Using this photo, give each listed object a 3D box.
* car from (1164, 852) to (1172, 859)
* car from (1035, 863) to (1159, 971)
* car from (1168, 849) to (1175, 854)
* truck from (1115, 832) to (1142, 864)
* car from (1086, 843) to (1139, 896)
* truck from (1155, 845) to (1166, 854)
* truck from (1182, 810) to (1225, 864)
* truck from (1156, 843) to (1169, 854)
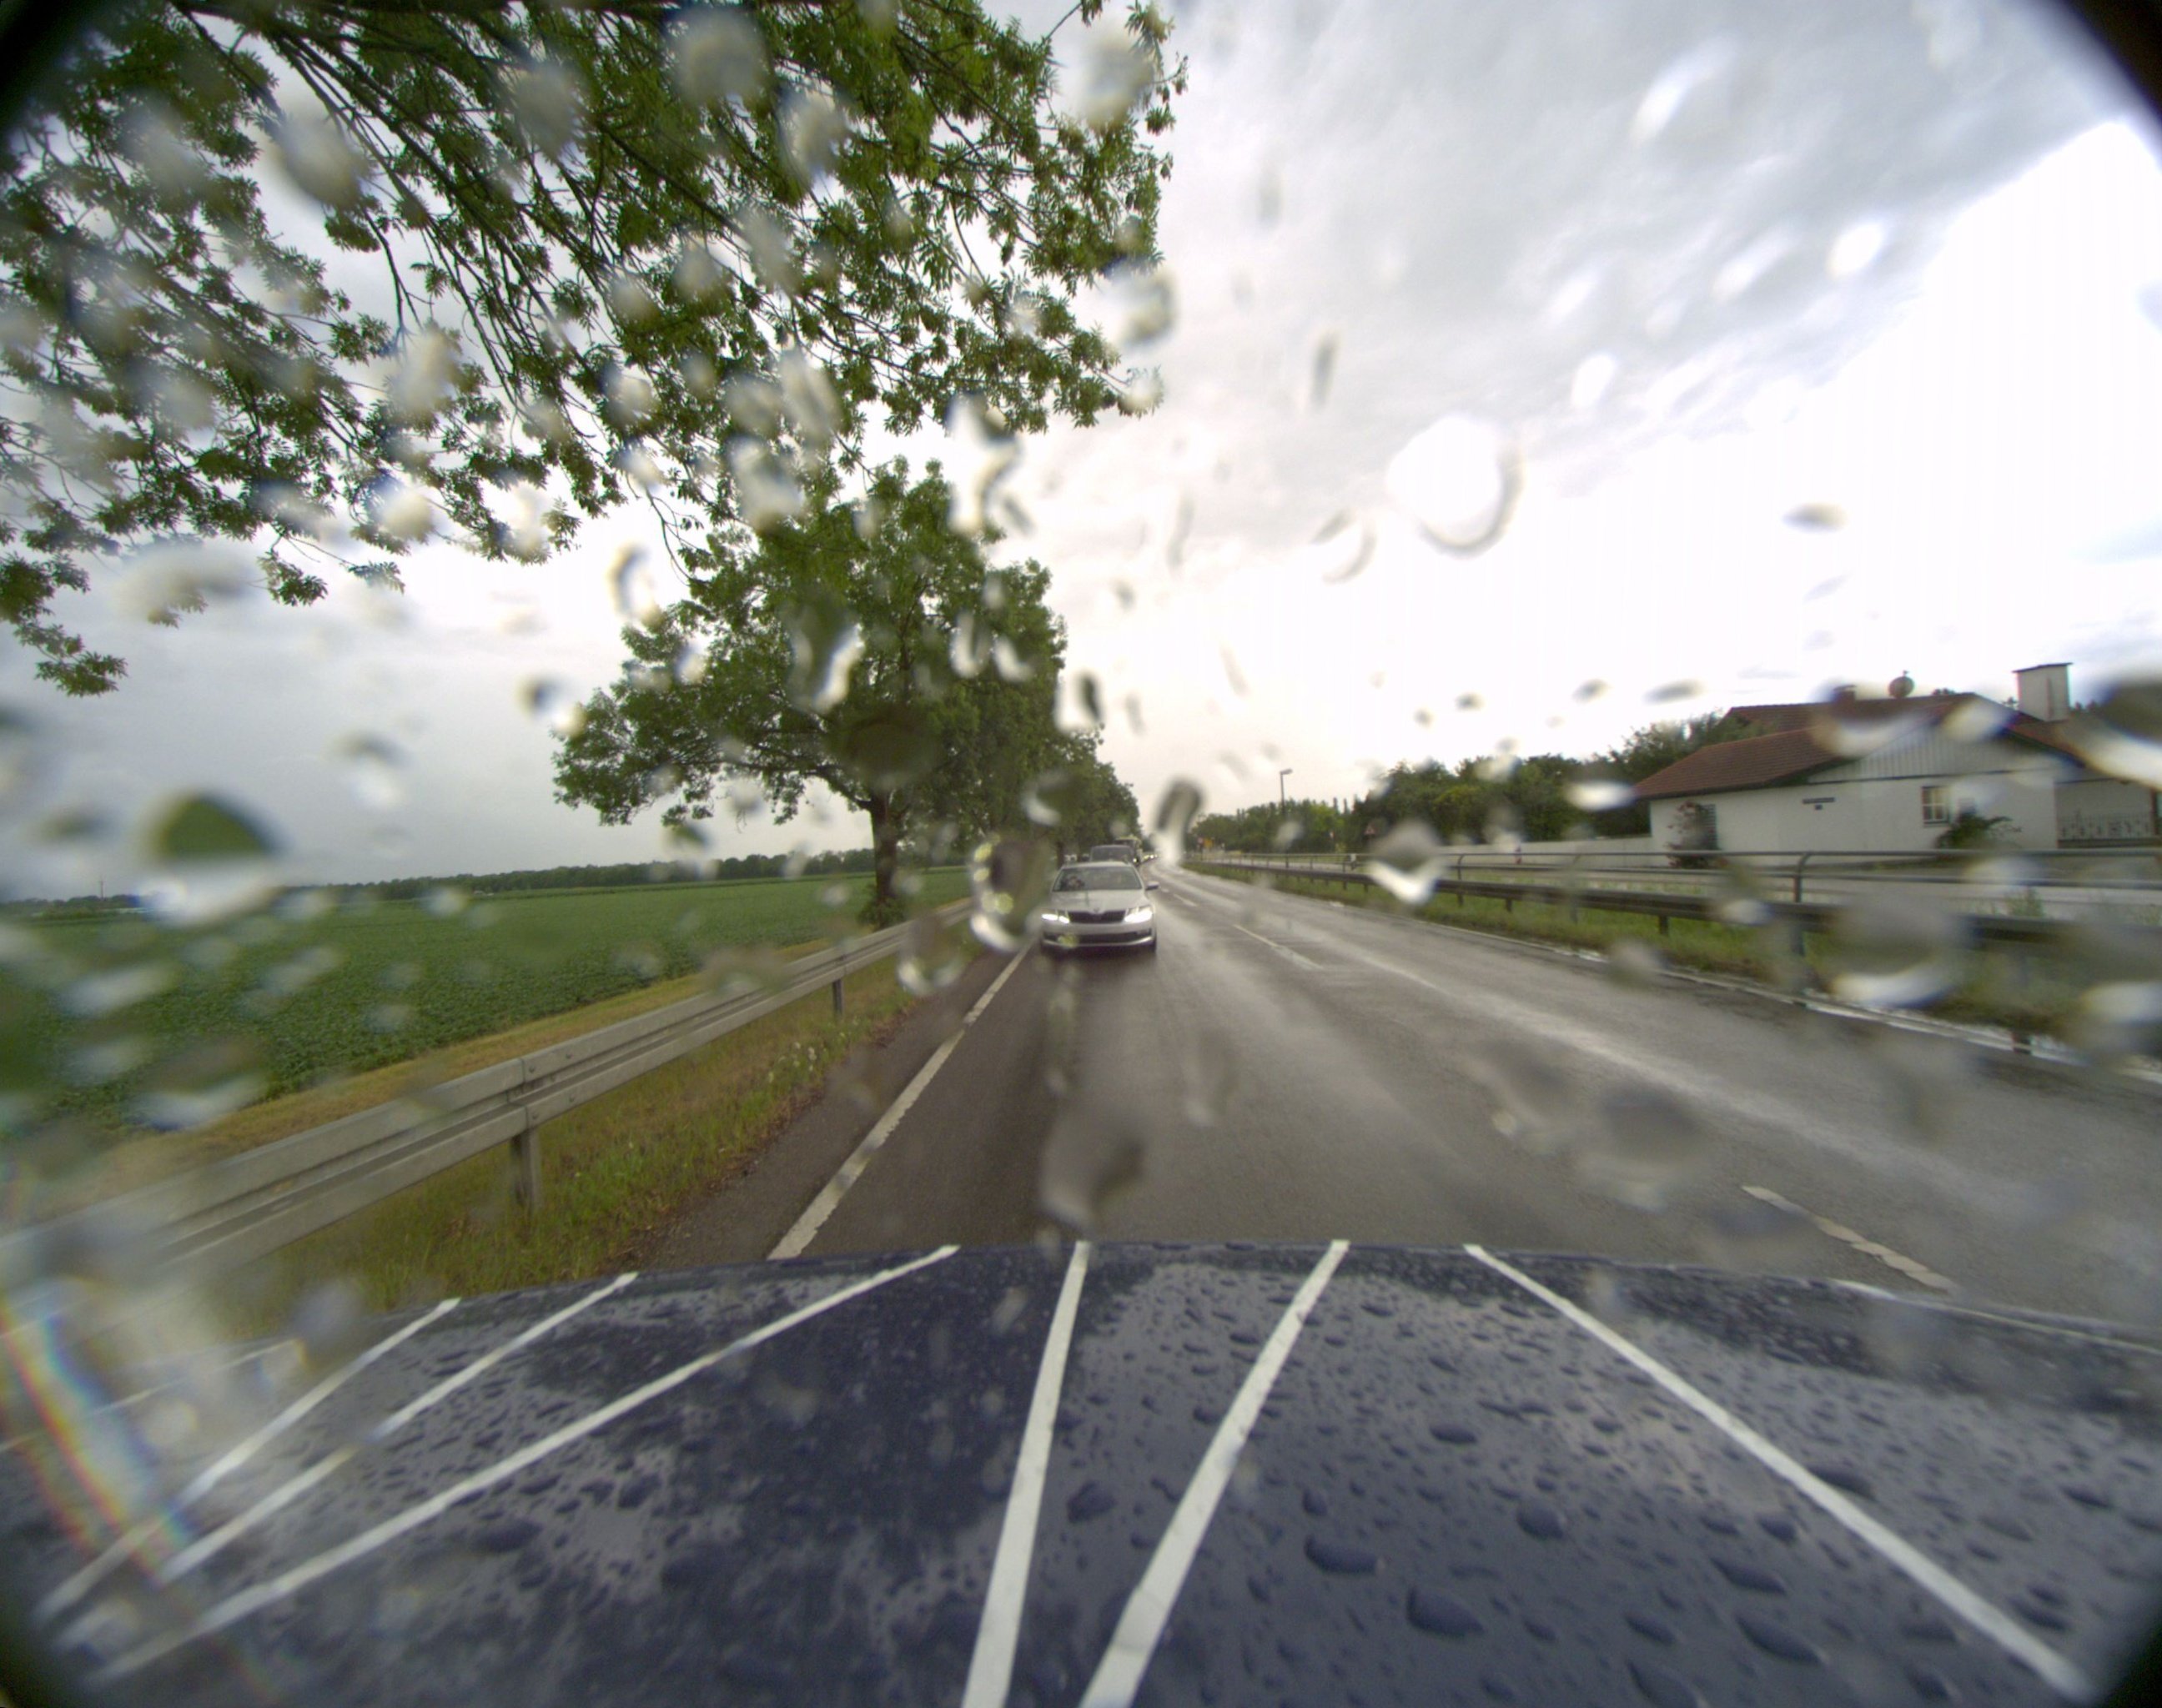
[{"bbox_3d":[27.101,0.350,235.947,1.998,2.002,4.100,-3,0,1],"label":"car"},{"bbox_3d":[0.245,0.910,12.685,1.705,1.438,4.000,-1,0,1],"label":"car"},{"bbox_3d":[30.663,-0.850,257.875,1.811,1.723,4.027,-3,0,2],"label":"car"},{"bbox_3d":[5.521,-0.688,90.130,2.751,3.547,8.387,-3,0,2],"label":"truck"},{"bbox_3d":[1.193,0.561,29.897,1.903,1.884,4.000,-1,0,1],"label":"car"},{"bbox_3d":[22.092,-1.228,211.068,2.800,2.461,7.169,-3,0,4],"label":"truck"},{"bbox_3d":[12.363,-1.614,77.366,3.256,5.004,7.784,-4,0,3],"label":"truck"},{"bbox_3d":[20.899,-1.433,194.816,2.800,2.461,7.169,-3,0,4],"label":"truck"}]
